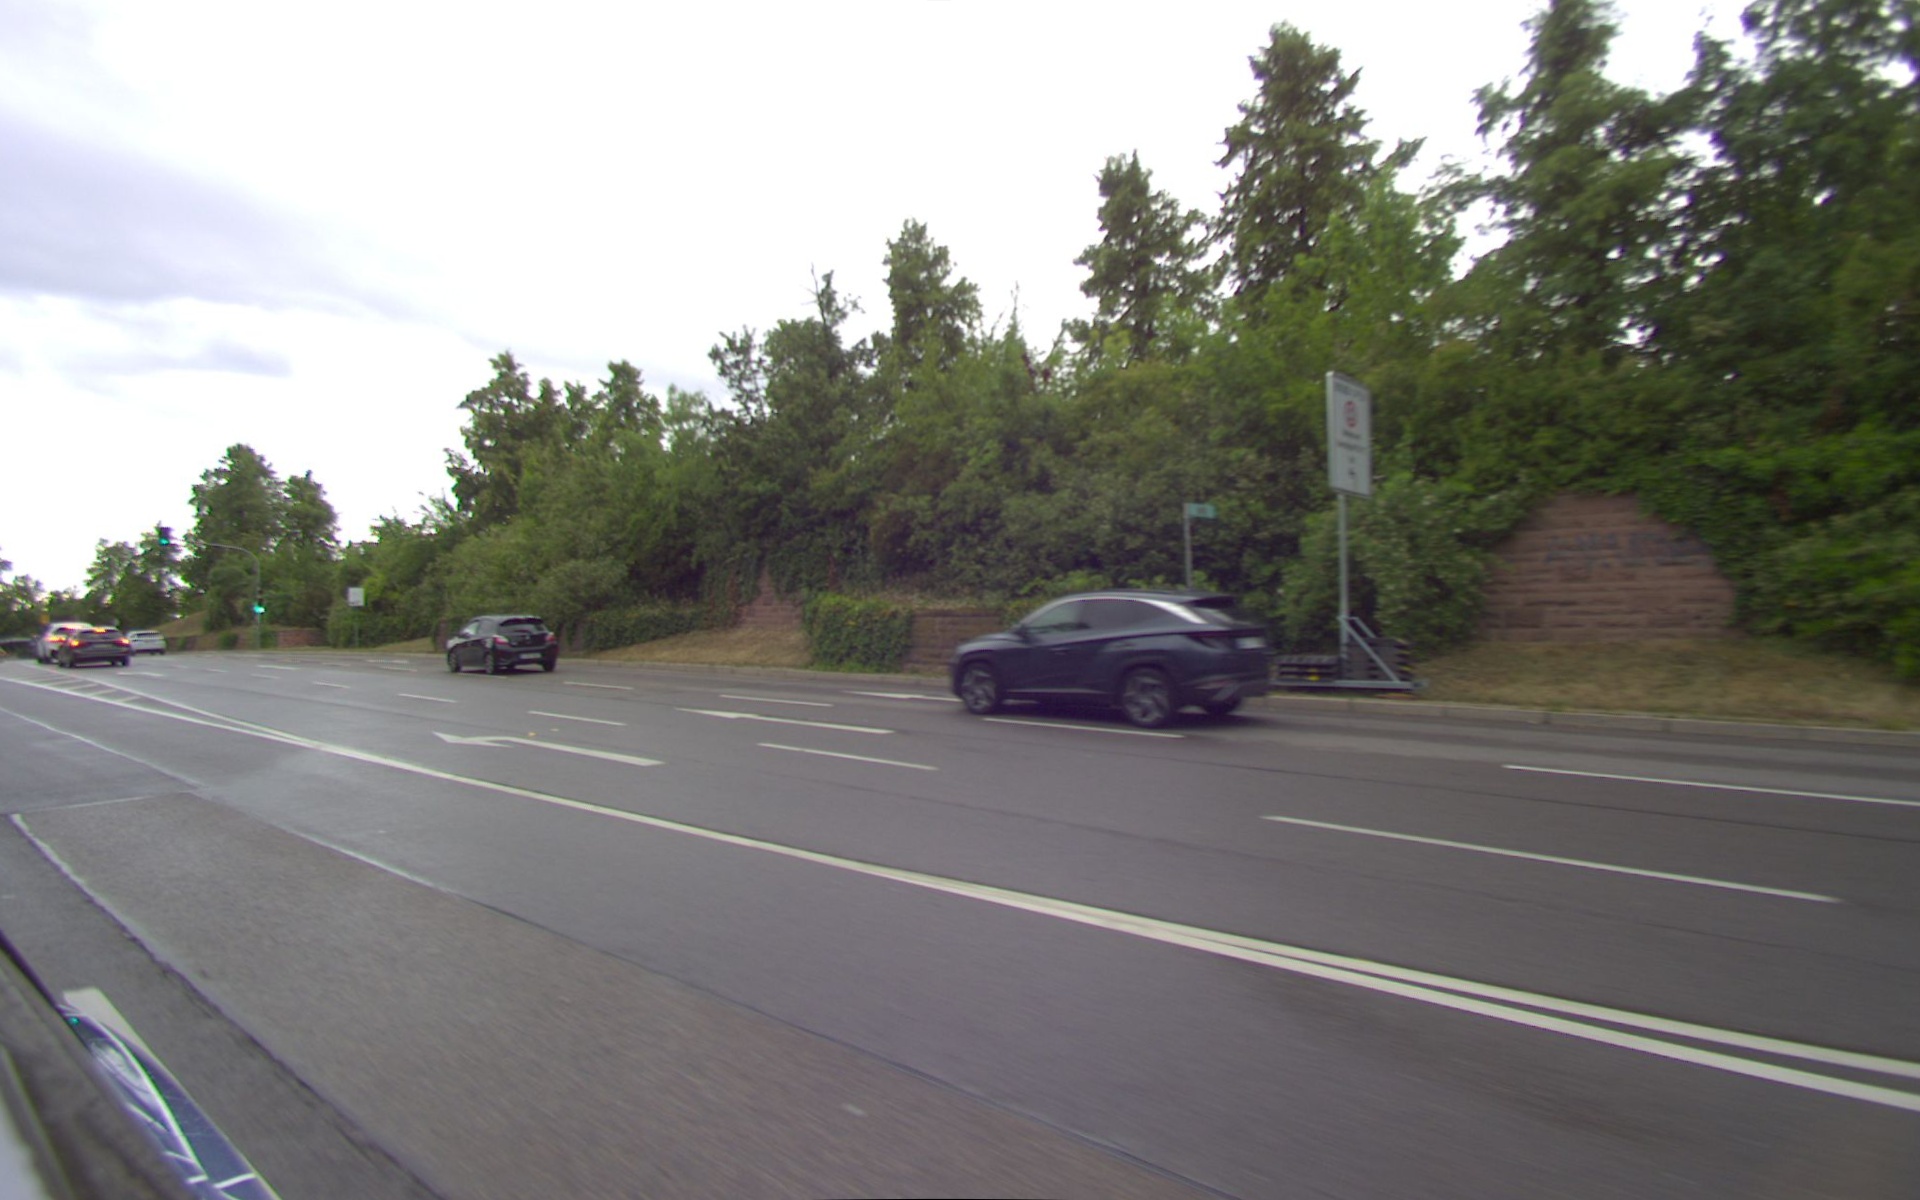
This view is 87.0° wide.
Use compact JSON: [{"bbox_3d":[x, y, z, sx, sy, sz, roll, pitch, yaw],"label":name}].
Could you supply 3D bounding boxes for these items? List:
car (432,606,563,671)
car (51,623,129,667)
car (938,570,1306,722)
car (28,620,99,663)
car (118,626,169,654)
[{"bbox_3d":[-11.896,0.947,25.915,3.861,1.478,1.657,-1,1,43],"label":"car"},{"bbox_3d":[-32.357,1.648,37.607,3.997,1.478,1.758,-2,0,43],"label":"car"},{"bbox_3d":[1.930,0.519,13.052,4.429,1.618,1.780,-1,1,44],"label":"car"},{"bbox_3d":[-38.522,1.752,43.458,4.450,1.668,1.865,-2,0,43],"label":"car"},{"bbox_3d":[-52.669,2.587,65.260,4.449,1.668,1.866,-2,0,42],"label":"car"}]
